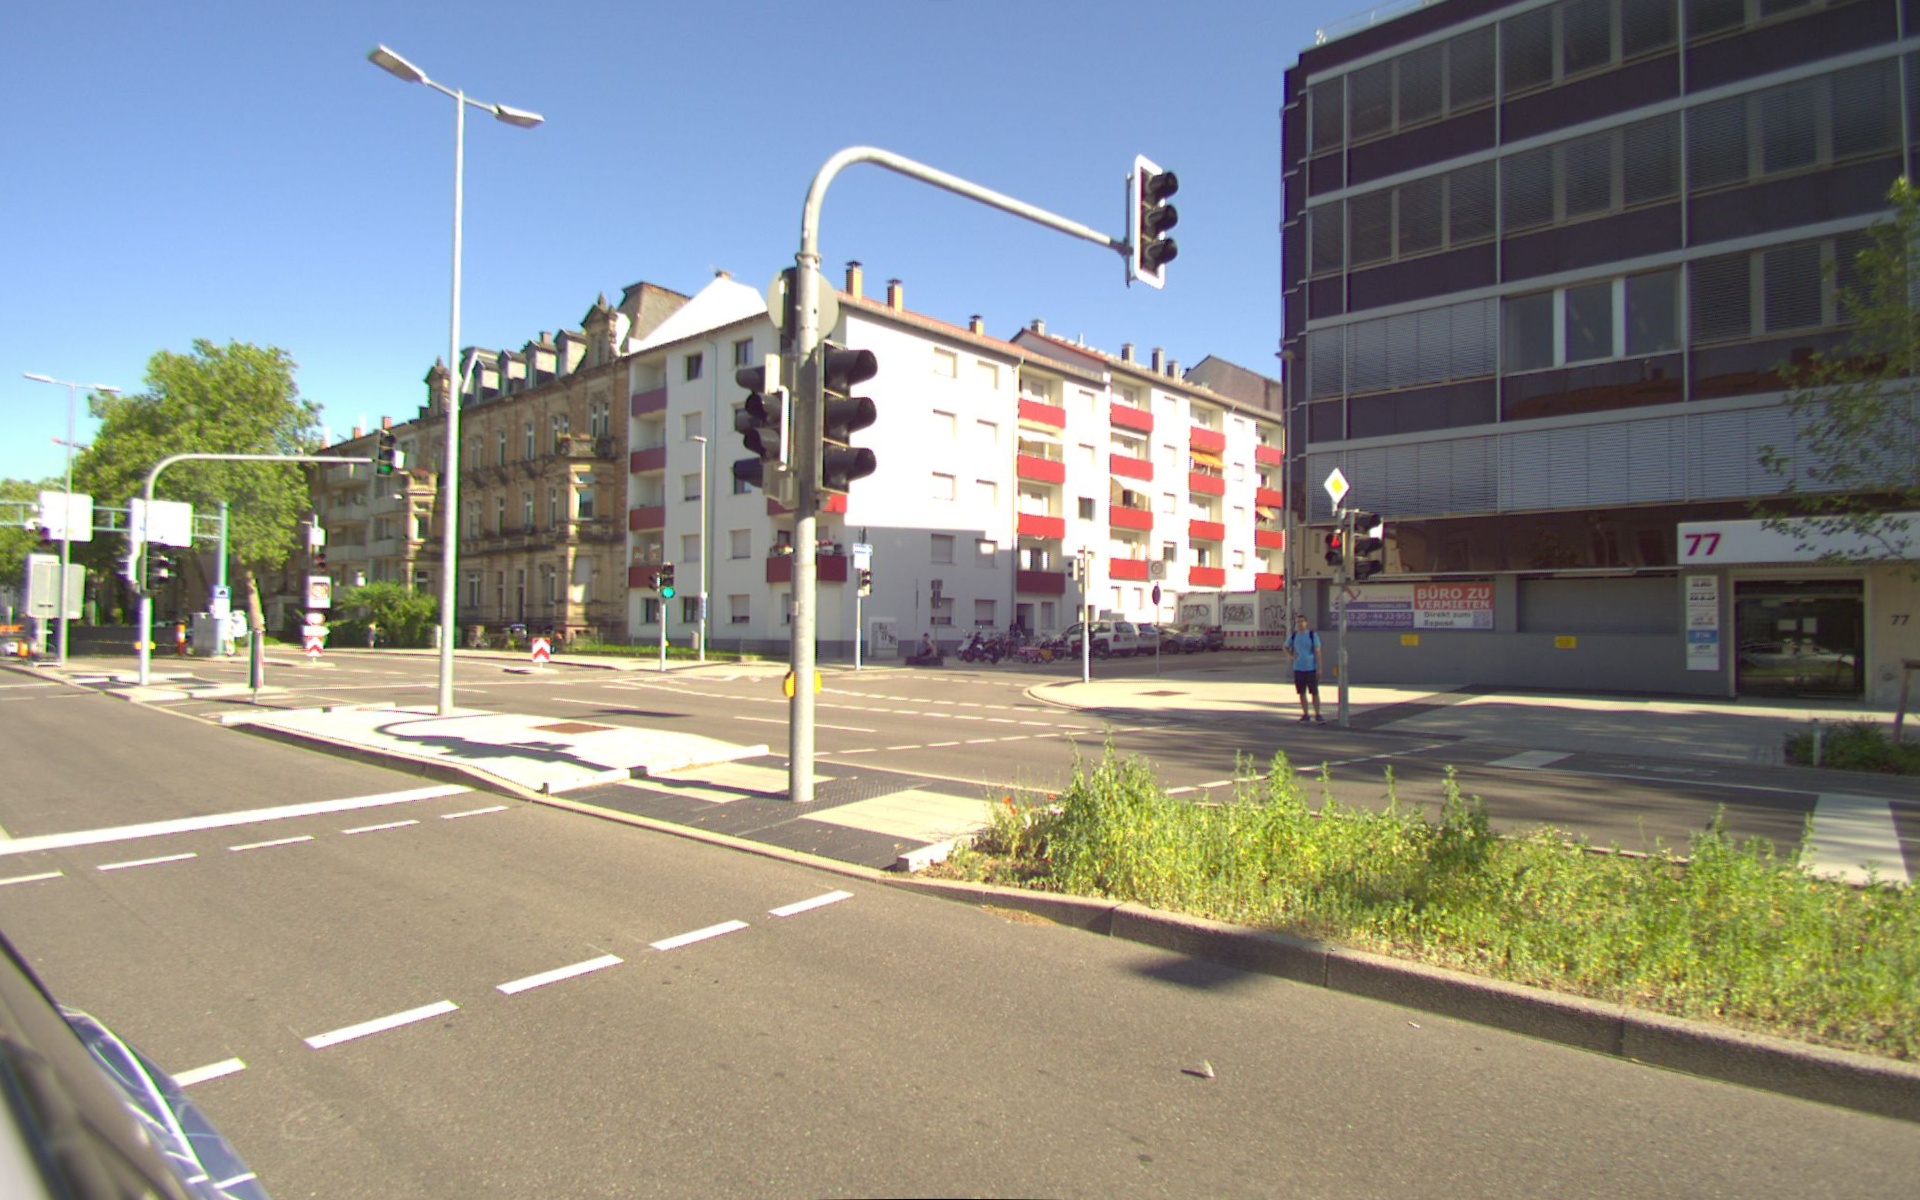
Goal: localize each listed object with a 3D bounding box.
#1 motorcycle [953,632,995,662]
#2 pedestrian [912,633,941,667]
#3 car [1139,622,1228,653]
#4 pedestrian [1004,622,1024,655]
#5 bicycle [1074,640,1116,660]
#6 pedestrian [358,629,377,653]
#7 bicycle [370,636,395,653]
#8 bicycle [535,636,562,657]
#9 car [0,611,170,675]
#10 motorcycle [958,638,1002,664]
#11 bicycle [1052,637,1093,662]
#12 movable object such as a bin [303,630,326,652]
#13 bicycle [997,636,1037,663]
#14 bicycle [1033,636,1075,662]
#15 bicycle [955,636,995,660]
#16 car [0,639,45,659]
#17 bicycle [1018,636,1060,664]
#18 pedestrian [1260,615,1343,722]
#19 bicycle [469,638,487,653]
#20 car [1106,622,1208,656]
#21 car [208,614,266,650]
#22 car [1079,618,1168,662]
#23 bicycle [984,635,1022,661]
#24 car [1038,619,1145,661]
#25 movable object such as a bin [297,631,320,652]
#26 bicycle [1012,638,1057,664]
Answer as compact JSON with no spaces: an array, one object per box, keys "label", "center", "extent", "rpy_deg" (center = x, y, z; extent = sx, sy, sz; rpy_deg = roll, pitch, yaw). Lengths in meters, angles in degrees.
[{"label":"motorcycle","center":[0.546,1.829,39.513],"extent":[0.604,1.150,1.786],"rpy_deg":[1,-2,-40]},{"label":"pedestrian","center":[-1.171,1.762,35.754],"extent":[0.785,1.162,0.712],"rpy_deg":[-1,-2,28]},{"label":"car","center":[11.133,1.853,50.648],"extent":[4.000,1.473,1.823],"rpy_deg":[-2,-2,43]},{"label":"pedestrian","center":[2.485,1.778,46.464],"extent":[0.695,1.508,0.593],"rpy_deg":[-2,-2,44]},{"label":"bicycle","center":[5.559,2.050,41.695],"extent":[1.709,0.820,0.412],"rpy_deg":[-1,-2,17]},{"label":"pedestrian","center":[-34.831,2.386,59.493],"extent":[1.089,1.388,0.561],"rpy_deg":[-2,-3,39]},{"label":"bicycle","center":[-34.119,2.625,59.795],"extent":[2.247,1.013,0.462],"rpy_deg":[-2,-2,39]},{"label":"bicycle","center":[-19.183,2.164,47.148],"extent":[1.939,0.965,0.301],"rpy_deg":[-2,-3,41]},{"label":"car","center":[-25.003,1.195,28.551],"extent":[3.930,1.726,2.006],"rpy_deg":[1,-2,-26]},{"label":"motorcycle","center":[0.731,1.901,37.926],"extent":[0.497,0.943,1.844],"rpy_deg":[1,-2,-42]},{"label":"bicycle","center":[4.560,2.001,41.192],"extent":[1.723,0.955,0.453],"rpy_deg":[-1,-2,43]},{"label":"movable object such as a bin","center":[-41.893,2.682,65.680],"extent":[1.473,1.371,0.883],"rpy_deg":[-3,-6,42]},{"label":"bicycle","center":[2.181,1.877,38.822],"extent":[0.500,0.985,1.890],"rpy_deg":[1,-2,-33]},{"label":"bicycle","center":[3.780,1.974,40.779],"extent":[0.502,1.011,1.737],"rpy_deg":[1,-2,-44]},{"label":"bicycle","center":[0.597,1.949,41.314],"extent":[0.567,0.976,1.737],"rpy_deg":[1,-2,-44]},{"label":"car","center":[-65.062,3.399,70.021],"extent":[4.310,1.356,1.912],"rpy_deg":[-3,-3,38]},{"label":"bicycle","center":[3.098,1.947,39.967],"extent":[1.736,1.077,0.483],"rpy_deg":[-2,-2,43]},{"label":"pedestrian","center":[5.725,1.131,17.000],"extent":[0.854,1.724,1.013],"rpy_deg":[2,-3,-42]},{"label":"bicycle","center":[-24.773,2.332,51.992],"extent":[1.413,0.777,0.296],"rpy_deg":[-2,-3,41]},{"label":"car","center":[9.402,1.835,48.475],"extent":[4.575,1.541,1.739],"rpy_deg":[-2,-2,43]},{"label":"car","center":[-52.597,2.367,73.553],"extent":[5.284,2.465,2.221],"rpy_deg":[-3,-5,41]},{"label":"car","center":[7.471,1.806,46.420],"extent":[3.794,1.970,1.677],"rpy_deg":[-1,-2,44]},{"label":"bicycle","center":[1.801,2.032,42.723],"extent":[0.567,1.066,1.691],"rpy_deg":[1,-2,-44]},{"label":"car","center":[5.794,1.752,44.894],"extent":[1.970,1.744,4.483],"rpy_deg":[1,-2,-43]},{"label":"movable object such as a bin","center":[-42.907,2.732,66.635],"extent":[1.313,1.373,0.884],"rpy_deg":[-3,-5,40]},{"label":"bicycle","center":[2.848,1.939,38.980],"extent":[0.471,0.955,1.954],"rpy_deg":[1,-2,-40]}]
